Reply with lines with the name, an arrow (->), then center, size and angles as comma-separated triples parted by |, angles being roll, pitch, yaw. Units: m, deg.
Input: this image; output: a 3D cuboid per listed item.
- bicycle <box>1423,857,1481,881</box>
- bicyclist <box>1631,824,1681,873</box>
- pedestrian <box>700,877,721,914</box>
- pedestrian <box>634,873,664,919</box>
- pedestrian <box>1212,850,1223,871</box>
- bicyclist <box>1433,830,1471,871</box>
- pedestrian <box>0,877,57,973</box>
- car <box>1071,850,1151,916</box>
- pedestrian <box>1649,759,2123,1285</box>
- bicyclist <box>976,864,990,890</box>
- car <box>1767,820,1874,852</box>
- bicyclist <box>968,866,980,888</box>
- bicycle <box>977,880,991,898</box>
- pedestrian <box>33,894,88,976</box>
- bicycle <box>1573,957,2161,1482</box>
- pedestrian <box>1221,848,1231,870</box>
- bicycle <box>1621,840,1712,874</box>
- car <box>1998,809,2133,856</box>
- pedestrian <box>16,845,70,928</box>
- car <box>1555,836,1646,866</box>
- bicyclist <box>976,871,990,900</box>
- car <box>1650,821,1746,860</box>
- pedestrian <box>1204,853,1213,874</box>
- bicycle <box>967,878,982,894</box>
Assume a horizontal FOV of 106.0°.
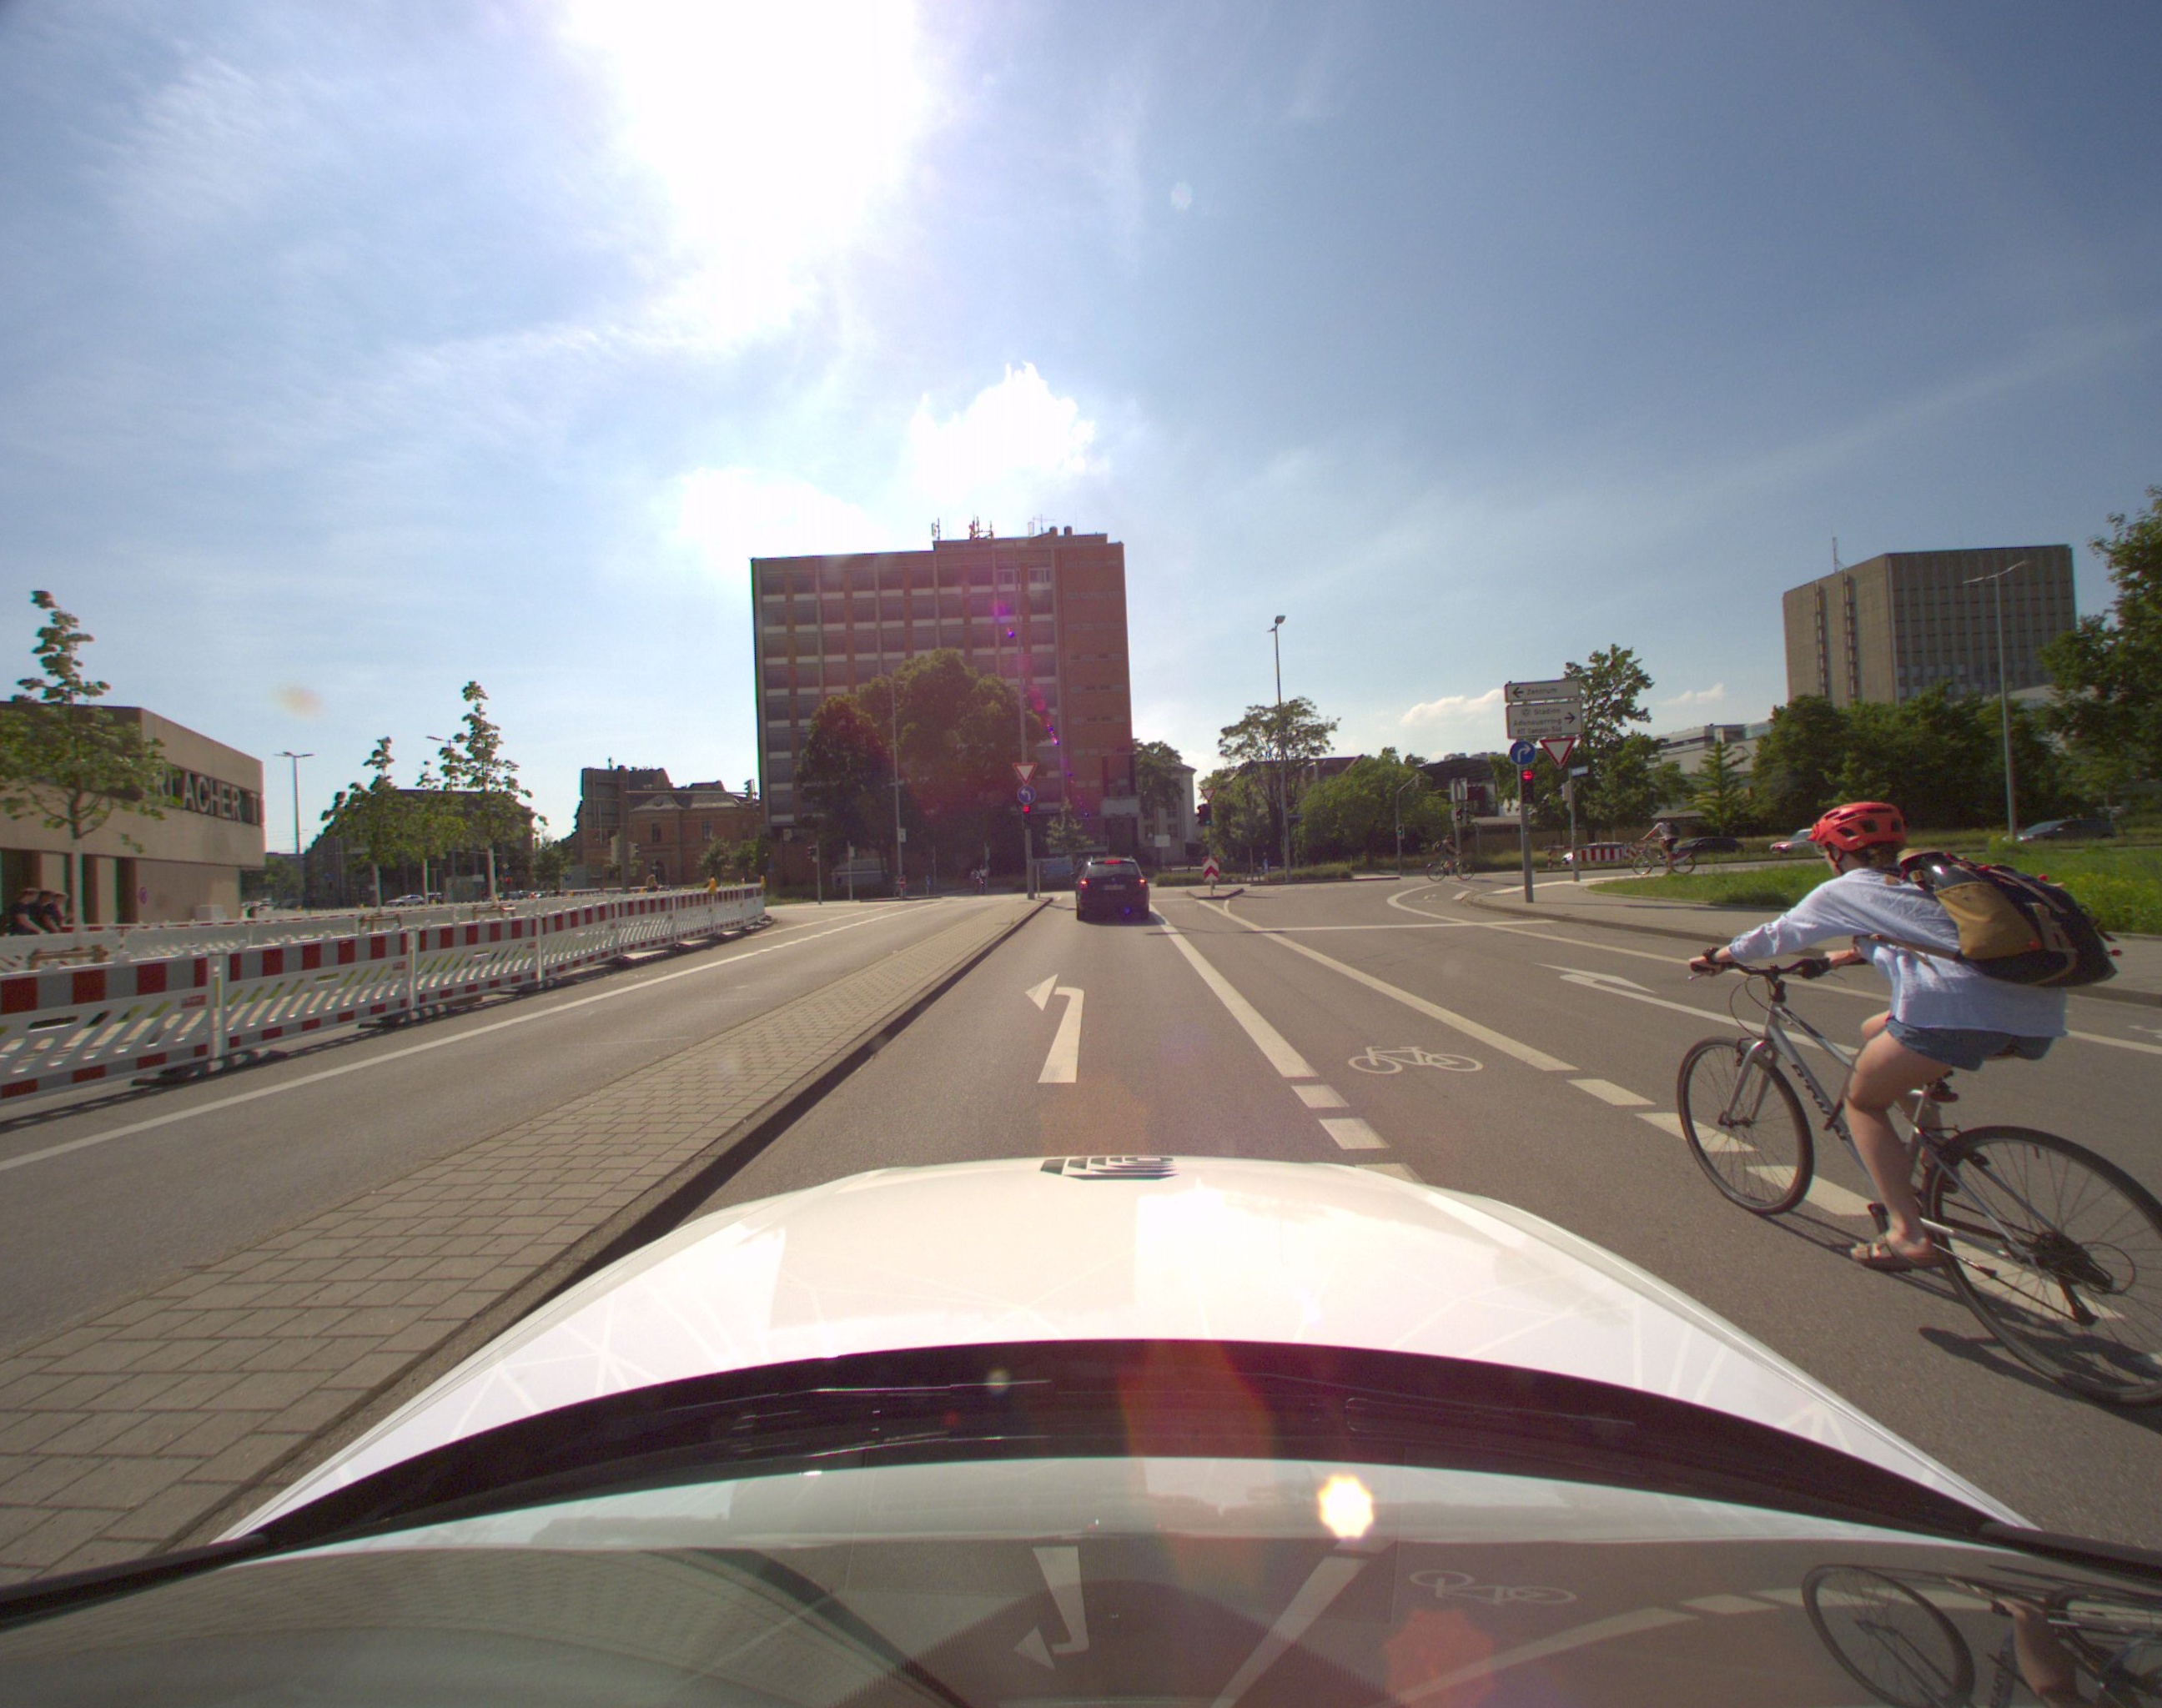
bicycle -> 13.840, 0.543, 30.419 | 1.876, 0.792, 0.562 | -3, 1, 14
bicyclist -> 17.745, -0.168, 25.148 | 0.499, 1.470, 1.129 | 1, -2, -40
pedestrian -> -15.460, 1.722, 33.972 | 0.632, 1.491, 0.614 | -3, -1, -15
pedestrian -> -17.146, 1.674, 32.321 | 0.737, 1.752, 1.105 | -3, -3, -15
pedestrian -> 12.201, 0.552, 72.721 | 0.787, 1.875, 0.642 | -1, -2, 20
bicyclist -> 13.853, -0.136, 30.424 | 1.157, 1.474, 0.566 | -3, -1, 13
pedestrian -> -21.781, 1.461, 16.843 | 0.436, 1.915, 0.609 | -3, -1, 22
car -> 0.743, 0.660, 20.228 | 1.773, 1.443, 3.820 | -1, 0, 2
pedestrian -> 2.633, 0.477, 2.815 | 0.581, 1.466, 1.013 | -2, -1, 0
bicyclist -> -5.788, 1.368, 48.278 | 0.617, 1.443, 0.919 | -5, -1, -3
car -> 42.079, -1.025, 46.411 | 4.294, 1.569, 1.910 | -3, 0, 1
bicyclist -> -7.009, 1.522, 53.458 | 0.537, 1.417, 1.030 | -4, -2, 0
bicycle -> -5.727, 2.056, 48.272 | 0.617, 0.961, 1.965 | -5, 0, -3
pedestrian -> -22.150, 1.753, 17.684 | 0.534, 1.708, 0.572 | -3, -1, 22
bicycle -> 2.672, 0.987, 2.924 | 0.594, 0.931, 2.028 | -2, 1, 1
pedestrian -> 12.726, 0.422, 71.666 | 0.634, 1.874, 0.797 | -4, 0, 1
bicycle -> 17.914, 0.105, 24.963 | 0.678, 0.916, 2.143 | -3, -1, -41
car -> 49.585, -1.067, 41.102 | 3.966, 2.014, 2.003 | -3, -3, 6
pedestrian -> -22.881, 0.709, 17.954 | 0.538, 1.778, 0.572 | -3, -1, 22
car -> 30.076, -0.144, 47.244 | 3.973, 1.464, 2.000 | -3, -2, 1
bicyclist -> -5.715, 1.837, 47.681 | 0.617, 1.581, 1.012 | -5, -1, -3
car -> 35.767, -0.776, 47.288 | 3.970, 2.013, 2.002 | -3, 0, 3
pedestrian -> 11.419, 0.842, 72.991 | 0.591, 1.875, 0.642 | 1, -2, 24
bicycle -> -6.990, 2.085, 53.418 | 0.702, 0.977, 2.030 | -3, -1, 0
